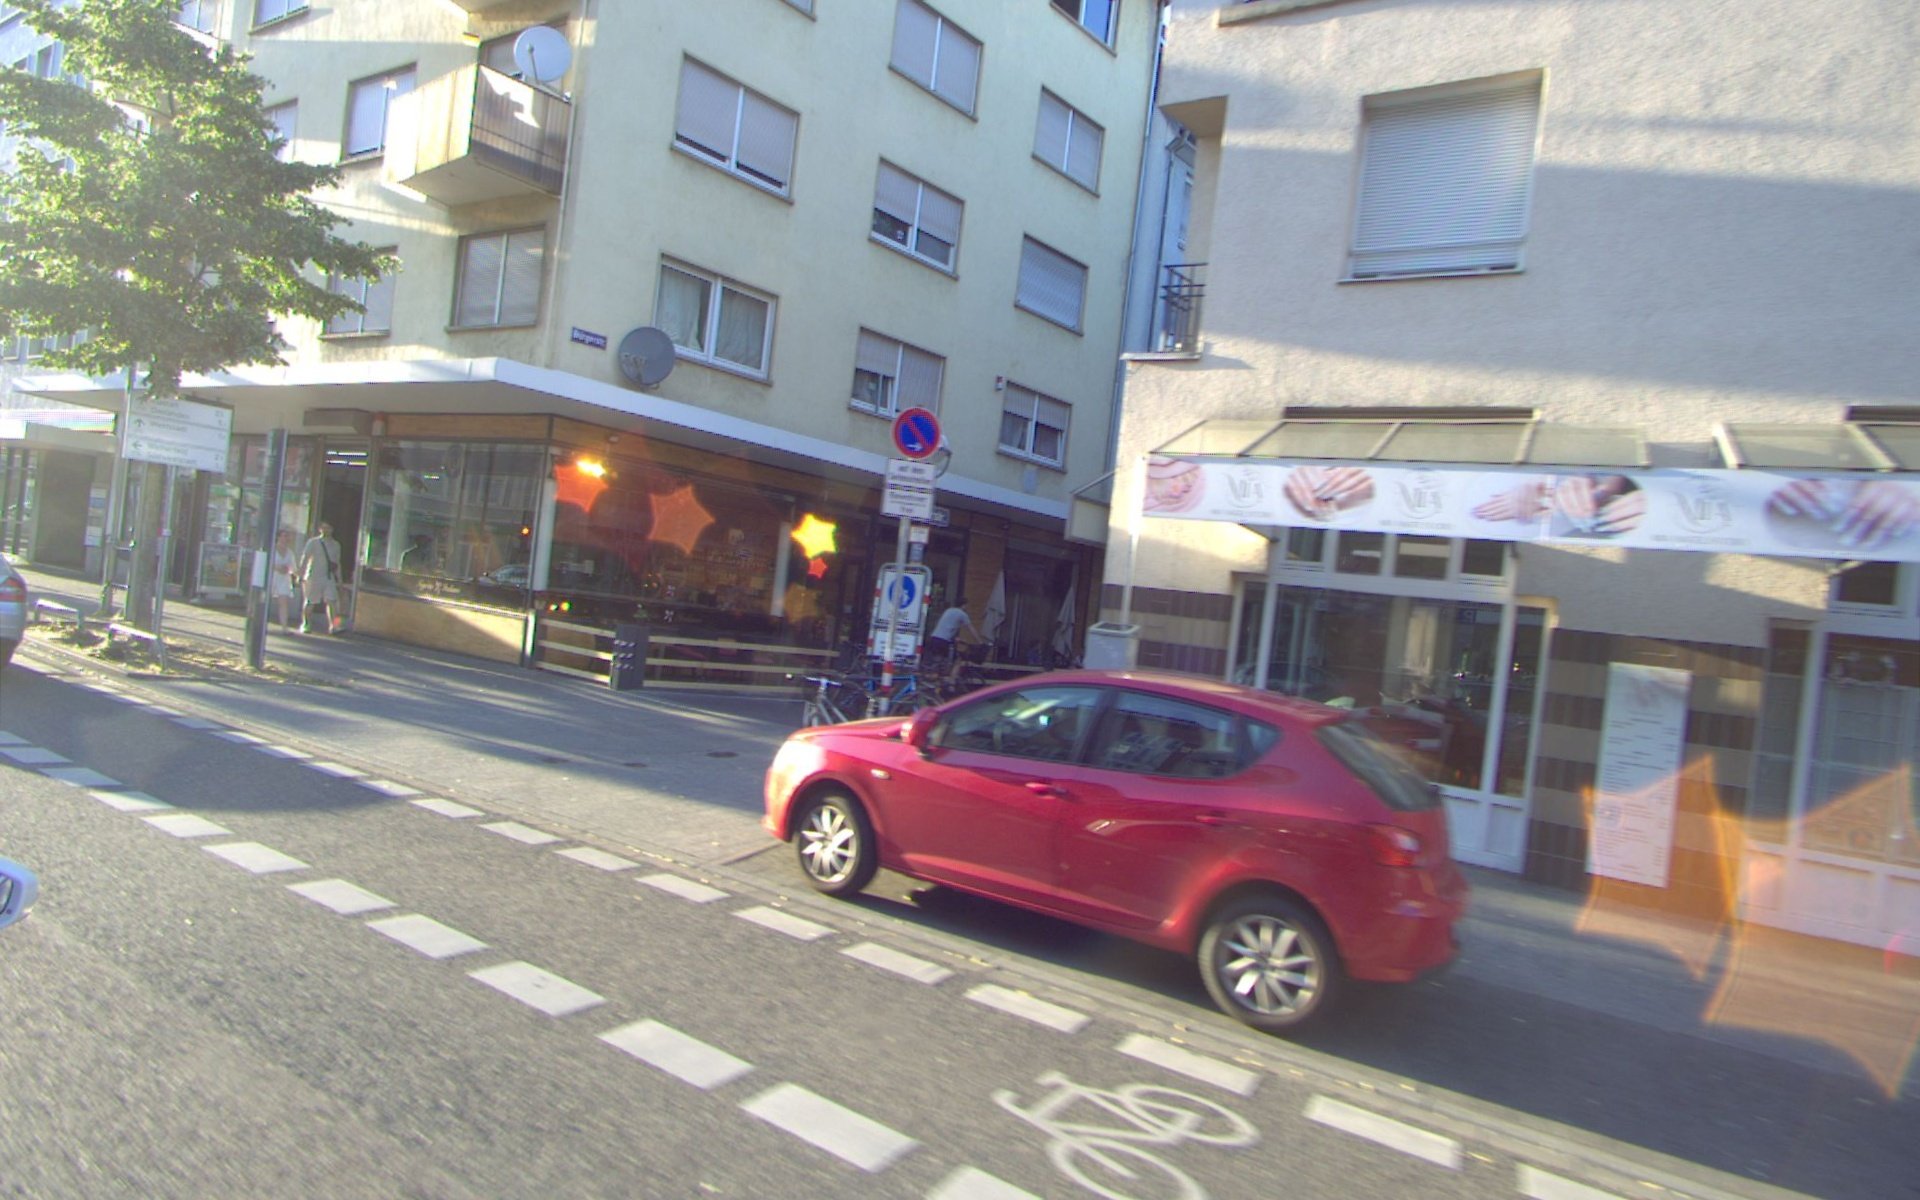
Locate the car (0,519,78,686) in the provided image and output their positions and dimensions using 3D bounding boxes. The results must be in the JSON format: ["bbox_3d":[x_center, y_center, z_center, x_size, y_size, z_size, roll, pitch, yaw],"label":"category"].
[{"bbox_3d":[-10.528,-0.250,9.532,4.473,1.430,1.927,6,-3,32],"label":"car"}]

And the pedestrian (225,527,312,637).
[{"bbox_3d":[-10.624,-0.272,15.464,0.848,1.578,0.689,7,0,31],"label":"pedestrian"}]

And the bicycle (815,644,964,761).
[{"bbox_3d":[-0.805,1.117,11.215,1.688,1.051,0.288,7,0,31],"label":"bicycle"}]

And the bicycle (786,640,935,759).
[{"bbox_3d":[-1.117,1.070,11.059,1.688,1.051,0.288,7,0,31],"label":"bicycle"}]

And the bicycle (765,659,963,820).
[{"bbox_3d":[-0.831,1.125,8.425,1.688,1.051,0.305,7,0,31],"label":"bicycle"}]

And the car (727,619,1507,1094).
[{"bbox_3d":[0.766,1.078,5.664,3.867,1.454,1.705,6,0,32],"label":"car"}]

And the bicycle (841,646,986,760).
[{"bbox_3d":[-0.558,1.158,11.586,1.688,1.051,0.288,7,0,31],"label":"bicycle"}]

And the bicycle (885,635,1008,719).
[{"bbox_3d":[-0.190,1.230,15.888,1.920,1.169,0.644,7,0,-44],"label":"bicycle"}]

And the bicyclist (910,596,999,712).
[{"bbox_3d":[-0.079,0.867,15.947,1.088,1.723,0.644,7,0,-44],"label":"bicyclist"}]

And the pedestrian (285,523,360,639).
[{"bbox_3d":[-10.159,-0.299,16.033,0.706,1.743,0.687,7,1,37],"label":"pedestrian"}]

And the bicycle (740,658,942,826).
[{"bbox_3d":[-0.992,1.106,8.127,1.688,1.051,0.292,7,0,31],"label":"bicycle"}]
